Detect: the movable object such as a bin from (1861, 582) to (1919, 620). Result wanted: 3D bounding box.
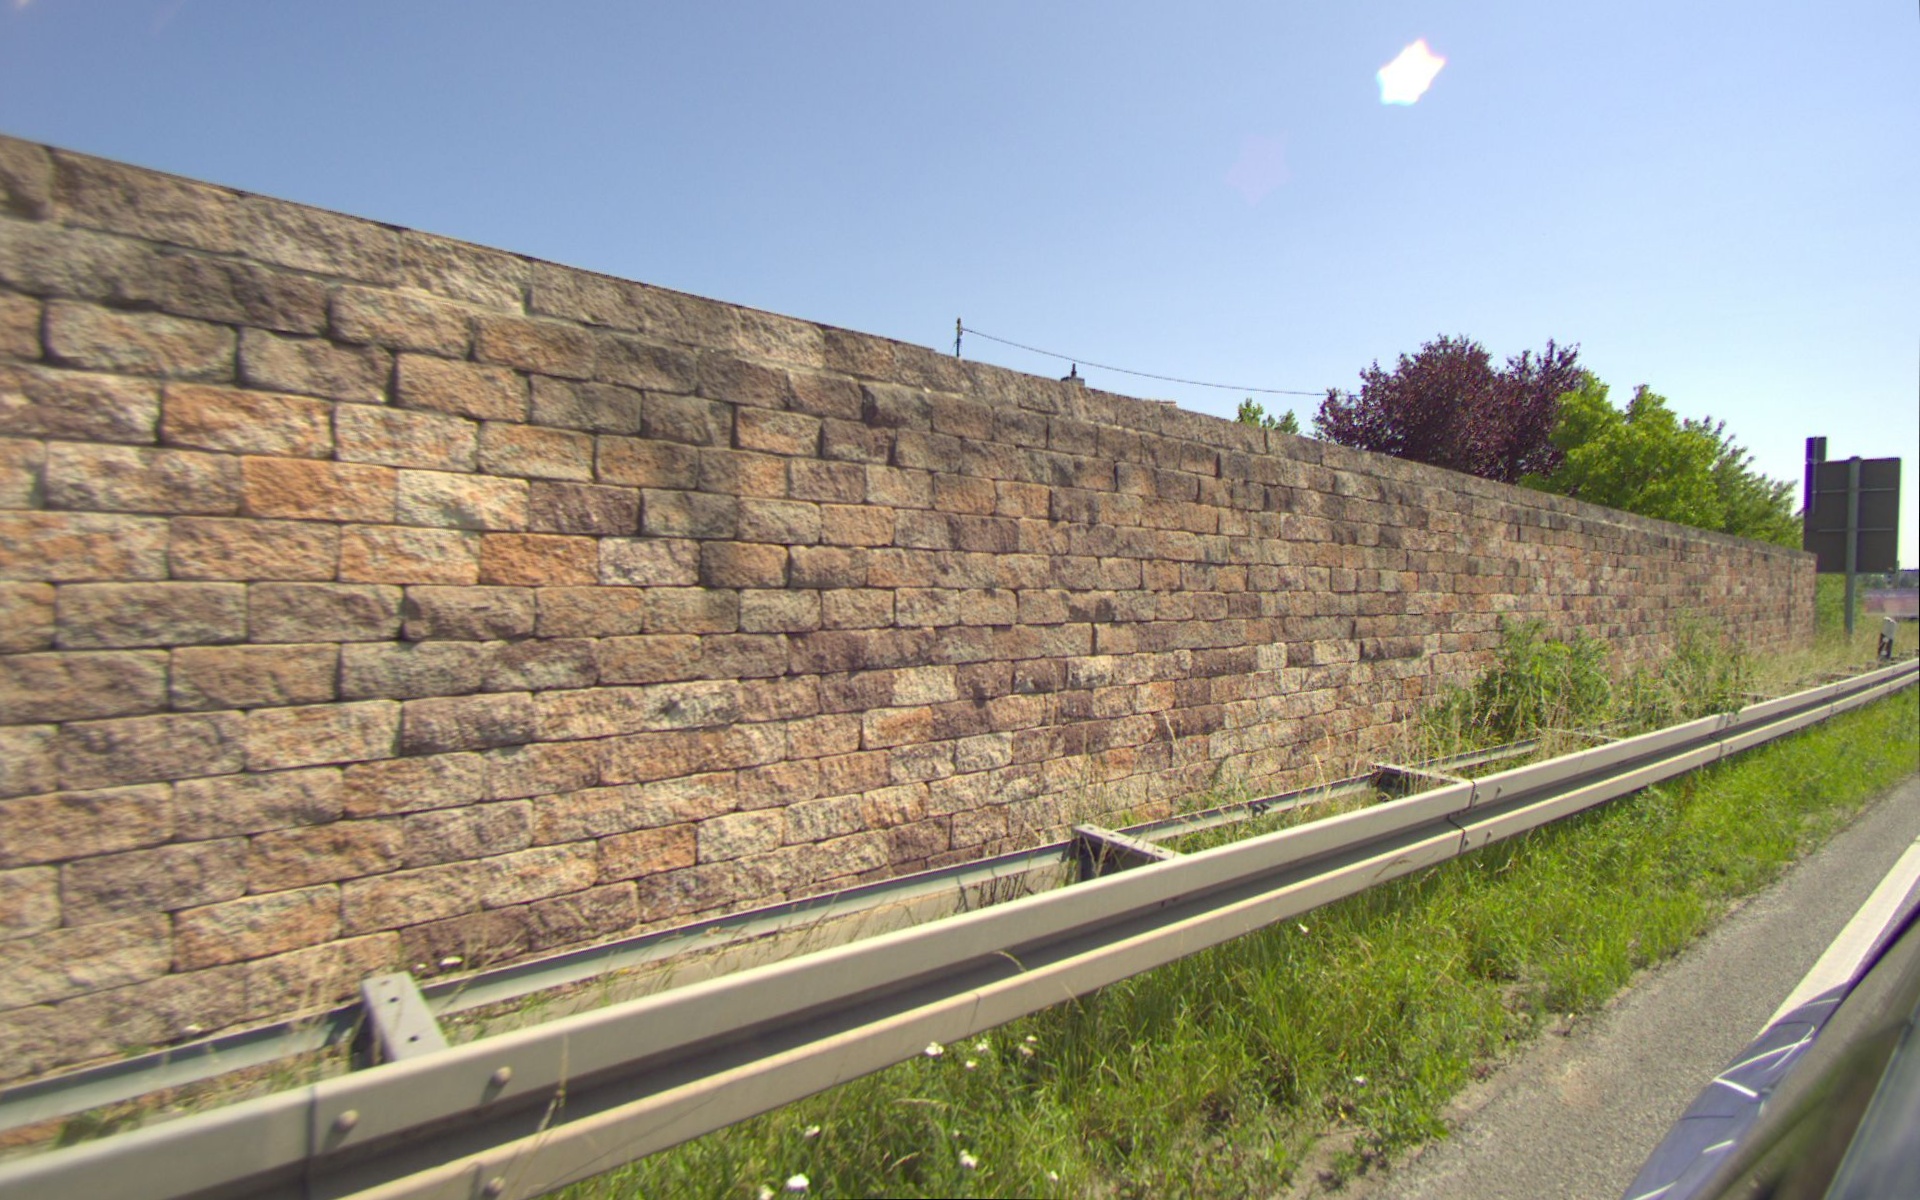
[{"bbox_3d":[59.366,0.043,63.605,4.093,2.360,1.258,1,1,43],"label":"movable object such as a bin"}]
